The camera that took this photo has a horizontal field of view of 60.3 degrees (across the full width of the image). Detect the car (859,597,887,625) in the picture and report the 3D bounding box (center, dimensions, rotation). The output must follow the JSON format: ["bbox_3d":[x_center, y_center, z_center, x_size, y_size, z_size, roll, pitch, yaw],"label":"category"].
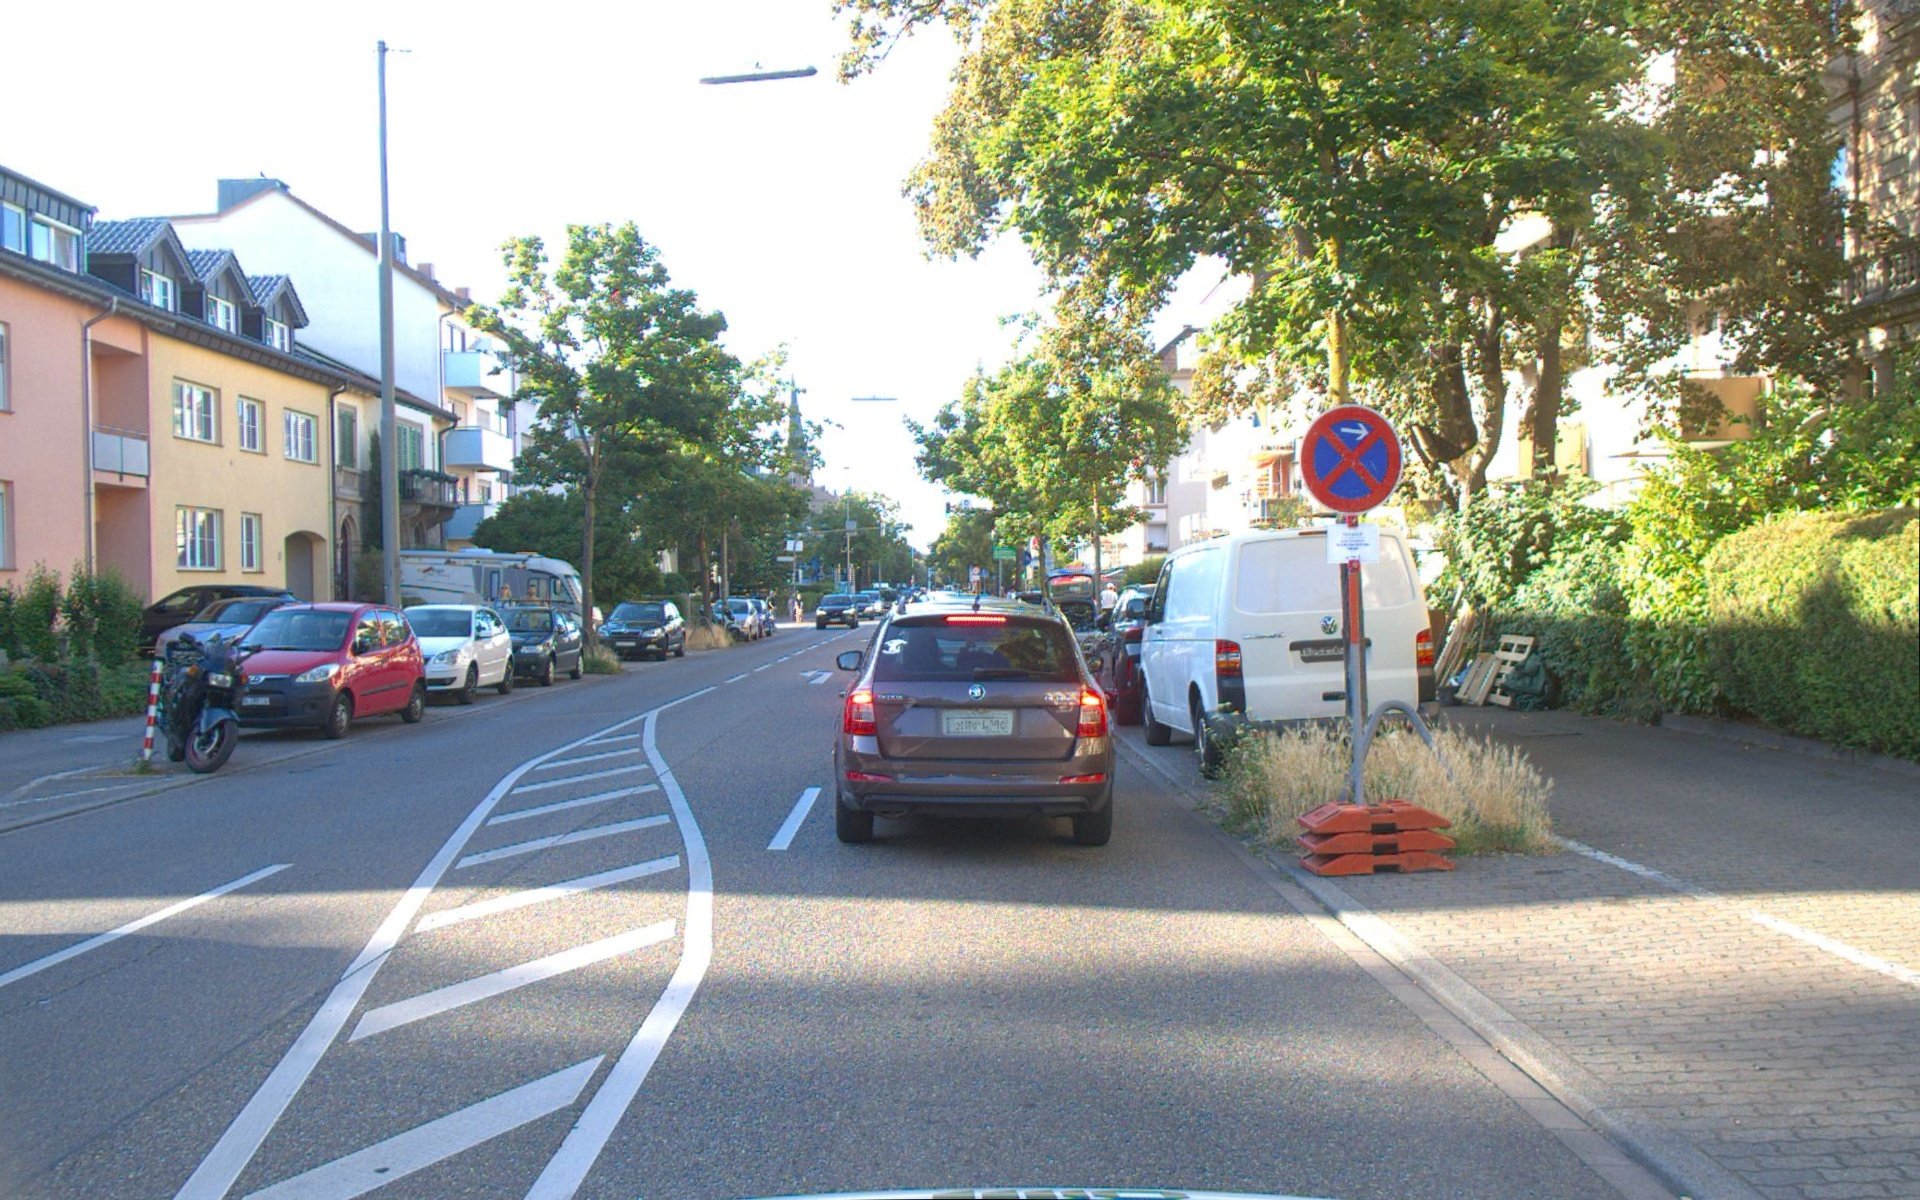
[{"bbox_3d":[-6.037,0.749,115.170,1.769,1.836,4.744,-3,0,-1],"label":"car"}]

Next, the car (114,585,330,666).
[{"bbox_3d":[-16.295,0.546,36.648,3.905,1.664,1.866,1,0,0],"label":"car"}]

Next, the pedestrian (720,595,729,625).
[{"bbox_3d":[-14.331,0.620,100.786,0.440,1.828,0.504,-1,0,0],"label":"pedestrian"}]

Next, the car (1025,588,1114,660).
[{"bbox_3d":[2.516,0.529,38.986,1.673,1.506,4.267,-3,0,-1],"label":"car"}]

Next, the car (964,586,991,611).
[{"bbox_3d":[1.366,-0.119,126.400,1.952,1.803,4.001,1,0,2],"label":"car"}]

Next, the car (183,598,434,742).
[{"bbox_3d":[-7.732,0.771,19.963,1.560,1.550,3.437,-1,0,2],"label":"car"}]

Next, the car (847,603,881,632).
[{"bbox_3d":[-5.557,0.996,96.295,1.725,1.477,4.533,-3,0,-1],"label":"car"}]

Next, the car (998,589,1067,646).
[{"bbox_3d":[2.204,0.507,51.261,1.818,1.609,4.012,-3,0,-1],"label":"car"}]

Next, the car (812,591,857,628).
[{"bbox_3d":[-5.845,0.439,77.188,1.798,1.597,3.999,-3,0,-1],"label":"car"}]

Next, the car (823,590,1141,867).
[{"bbox_3d":[0.081,0.698,11.216,1.737,1.515,4.310,0,0,-1],"label":"car"}]

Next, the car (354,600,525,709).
[{"bbox_3d":[-8.112,0.795,26.120,1.561,1.550,3.889,-1,0,-2],"label":"car"}]

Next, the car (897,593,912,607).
[{"bbox_3d":[-6.932,-0.019,206.874,1.793,1.607,3.999,-1,0,-1],"label":"car"}]

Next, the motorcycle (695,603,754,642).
[{"bbox_3d":[-7.974,0.767,55.904,2.014,1.287,0.764,-1,0,38],"label":"motorcycle"}]

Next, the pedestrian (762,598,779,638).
[{"bbox_3d":[-9.752,0.935,85.174,0.764,2.022,0.821,-1,0,0],"label":"pedestrian"}]

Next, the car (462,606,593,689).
[{"bbox_3d":[-8.009,0.837,30.891,1.511,1.421,3.665,-1,0,-1],"label":"car"}]

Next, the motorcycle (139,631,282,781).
[{"bbox_3d":[-7.306,0.974,16.159,1.164,1.288,2.352,-1,0,-24],"label":"motorcycle"}]

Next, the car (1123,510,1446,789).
[{"bbox_3d":[2.761,0.376,15.210,1.865,2.140,4.639,-1,0,-2],"label":"car"}]

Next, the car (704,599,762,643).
[{"bbox_3d":[-8.142,0.740,59.610,1.561,1.496,3.803,1,0,-1],"label":"car"}]

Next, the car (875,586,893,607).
[{"bbox_3d":[-9.100,-0.434,198.591,1.953,2.521,3.999,-1,0,-1],"label":"car"}]

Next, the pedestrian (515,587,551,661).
[{"bbox_3d":[-10.568,0.588,40.938,0.699,1.824,0.572,-1,0,2],"label":"pedestrian"}]

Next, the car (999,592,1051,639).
[{"bbox_3d":[2.202,0.513,57.010,1.668,1.475,4.014,-3,0,1],"label":"car"}]

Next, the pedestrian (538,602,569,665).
[{"bbox_3d":[-9.836,0.806,40.028,0.577,1.522,0.542,-1,0,2],"label":"pedestrian"}]

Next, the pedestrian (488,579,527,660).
[{"bbox_3d":[-10.288,0.437,37.640,0.699,1.824,0.506,-1,0,2],"label":"pedestrian"}]

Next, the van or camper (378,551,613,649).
[{"bbox_3d":[-14.476,0.001,51.899,6.660,2.821,2.351,1,0,-2],"label":"van or camper"}]

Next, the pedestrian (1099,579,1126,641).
[{"bbox_3d":[4.476,0.283,48.489,0.649,1.779,0.772,-2,0,0],"label":"pedestrian"}]

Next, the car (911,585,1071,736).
[{"bbox_3d":[0.336,0.646,19.841,1.701,1.598,4.000,1,0,0],"label":"car"}]

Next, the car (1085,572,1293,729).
[{"bbox_3d":[2.708,0.557,20.529,1.818,1.631,4.310,-3,0,-1],"label":"car"}]

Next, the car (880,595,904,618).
[{"bbox_3d":[-6.006,0.574,146.596,1.953,1.942,4.963,-3,0,-1],"label":"car"}]

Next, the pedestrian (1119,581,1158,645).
[{"bbox_3d":[4.676,0.343,43.321,0.742,1.668,0.693,-1,0,36],"label":"pedestrian"}]

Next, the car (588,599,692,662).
[{"bbox_3d":[-8.195,0.748,42.743,1.829,1.521,4.517,1,0,-1],"label":"car"}]

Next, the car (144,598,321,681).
[{"bbox_3d":[-13.760,0.705,31.515,1.630,1.433,3.753,-2,0,1],"label":"car"}]

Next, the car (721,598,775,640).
[{"bbox_3d":[-8.193,0.702,64.239,1.615,1.544,4.073,0,0,-1],"label":"car"}]
